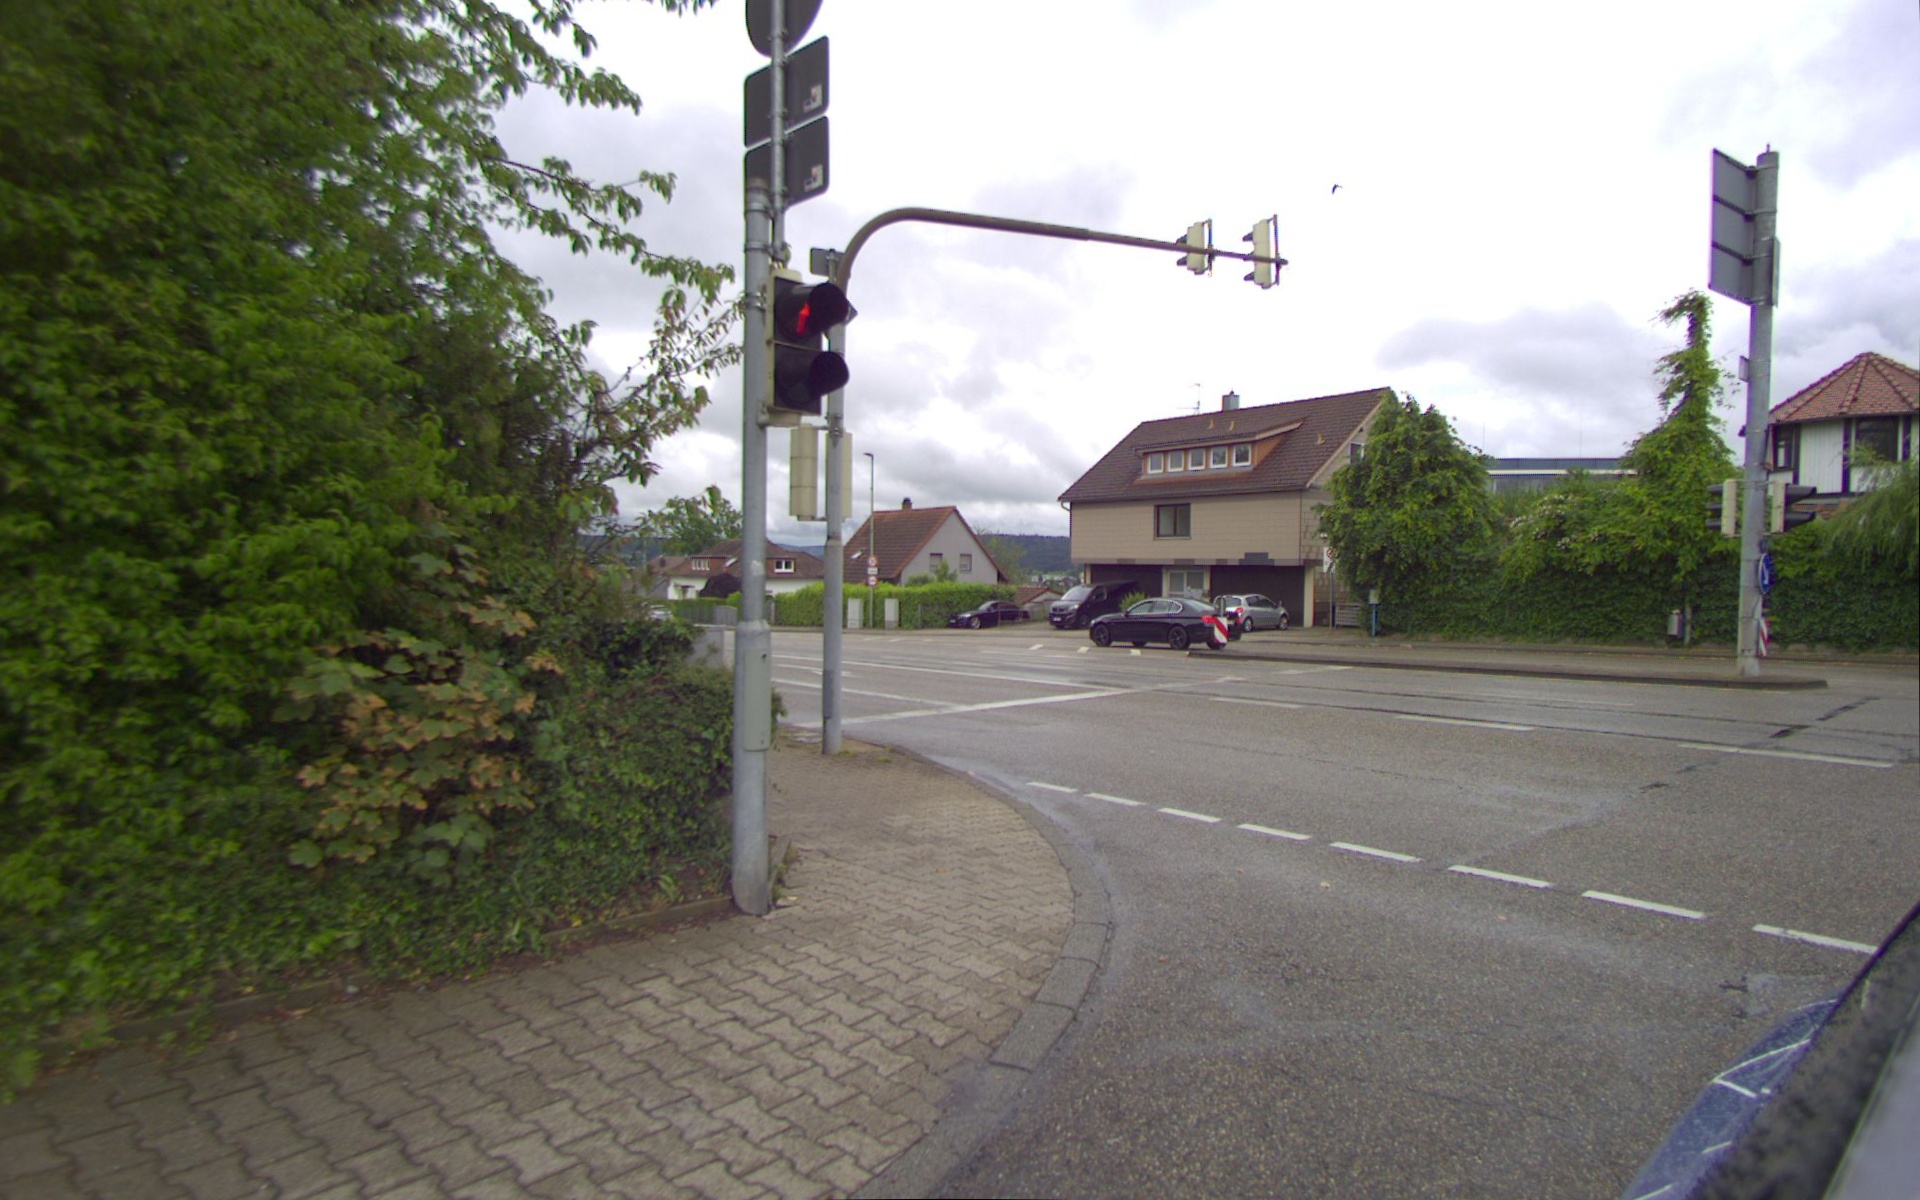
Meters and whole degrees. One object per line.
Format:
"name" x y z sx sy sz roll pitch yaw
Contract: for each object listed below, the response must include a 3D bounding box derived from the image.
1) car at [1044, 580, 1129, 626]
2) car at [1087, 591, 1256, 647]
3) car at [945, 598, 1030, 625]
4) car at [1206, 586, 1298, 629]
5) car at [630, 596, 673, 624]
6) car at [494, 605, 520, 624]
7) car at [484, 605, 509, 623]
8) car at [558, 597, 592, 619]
"car" 5.711 0.101 45.431 3.510 1.668 1.770 -7 6 -37
"car" 5.929 0.499 28.909 1.963 1.471 4.601 0 0 -36
"car" 1.376 0.563 49.834 3.980 1.077 1.699 -4 2 -37
"car" 11.551 0.267 40.009 3.508 1.472 1.770 -2 3 -37
"car" -21.930 0.701 71.938 1.961 1.861 4.002 0 0 -32
"car" -47.772 1.502 106.739 1.961 1.861 4.002 0 0 -32
"car" -51.286 1.528 111.958 1.961 1.861 4.002 0 0 -32
"car" -33.002 0.666 86.606 1.961 1.861 4.002 0 0 -32
